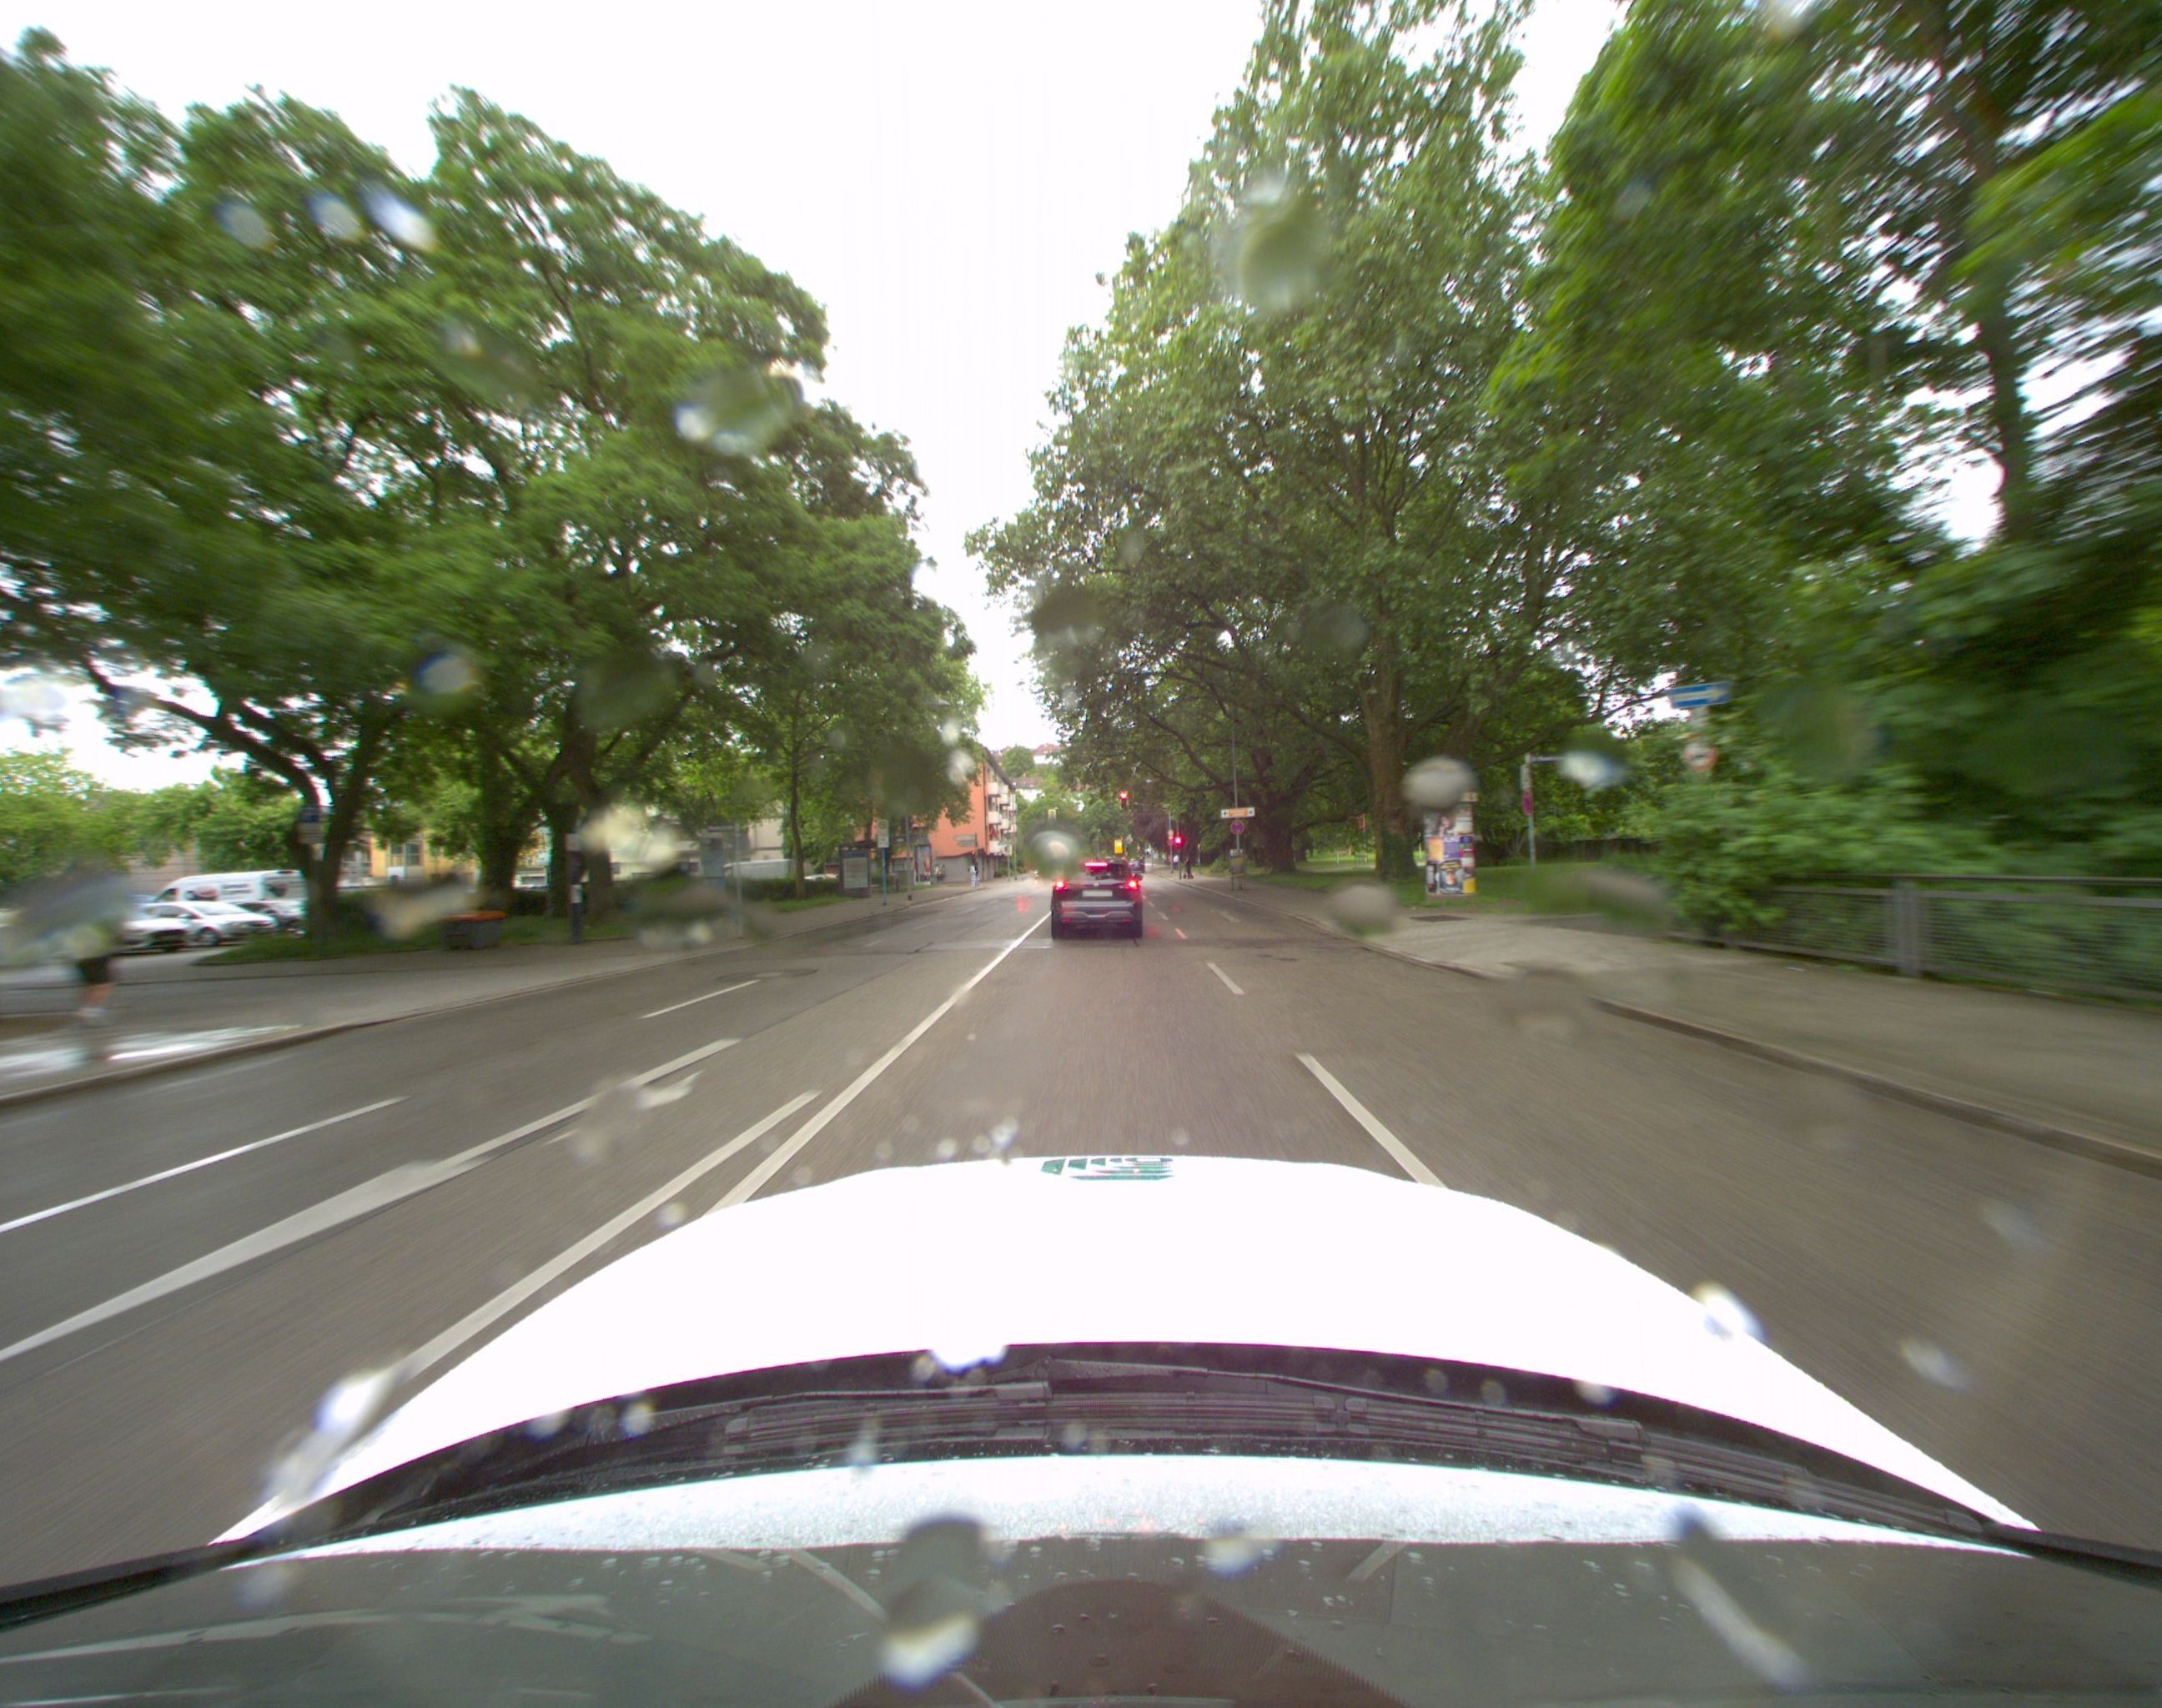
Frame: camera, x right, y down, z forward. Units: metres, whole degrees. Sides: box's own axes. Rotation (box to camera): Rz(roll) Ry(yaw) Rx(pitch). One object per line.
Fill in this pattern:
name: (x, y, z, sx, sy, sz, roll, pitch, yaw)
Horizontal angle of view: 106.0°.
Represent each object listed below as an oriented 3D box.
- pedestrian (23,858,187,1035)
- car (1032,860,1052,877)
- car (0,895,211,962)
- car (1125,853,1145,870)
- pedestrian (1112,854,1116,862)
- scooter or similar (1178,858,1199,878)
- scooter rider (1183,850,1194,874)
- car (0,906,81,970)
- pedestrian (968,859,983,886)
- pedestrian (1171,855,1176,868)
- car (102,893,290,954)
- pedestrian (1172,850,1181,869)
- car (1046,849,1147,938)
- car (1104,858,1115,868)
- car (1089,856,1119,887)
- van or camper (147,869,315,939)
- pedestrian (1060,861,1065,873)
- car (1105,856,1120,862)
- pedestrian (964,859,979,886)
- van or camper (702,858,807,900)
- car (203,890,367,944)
pedestrian: (-11.232, 1.026, 9.400, 0.911, 1.924, 0.821, -2, -1, 8)
car: (-3.776, 1.427, 79.721, 1.791, 1.533, 3.864, -3, 0, -2)
car: (-28.176, 2.120, 23.575, 4.022, 1.625, 1.865, -2, -1, 2)
car: (5.897, 0.814, 88.402, 1.983, 1.735, 4.007, 0, -1, 7)
pedestrian: (7.002, 0.867, 172.520, 0.503, 1.673, 0.663, -3, -1, 29)
scooter or similar: (8.069, 1.047, 61.025, 1.384, 1.446, 0.820, -2, -2, 13)
scooter rider: (8.053, 0.588, 61.043, 0.639, 1.766, 0.738, -2, -2, 13)
car: (-28.613, 2.200, 20.770, 3.971, 1.463, 1.865, -2, -1, 2)
pedestrian: (-7.575, 1.343, 58.616, 1.035, 1.876, 0.656, -1, -1, -10)
pedestrian: (10.356, 0.835, 91.254, 0.388, 1.502, 0.559, -3, -1, 2)
car: (-28.018, 2.171, 25.877, 3.971, 1.625, 1.865, -2, -1, 2)
pedestrian: (10.152, 0.569, 86.737, 0.722, 2.014, 0.852, -3, -1, 1)
car: (0.367, 0.756, 17.477, 1.906, 1.680, 4.002, -1, 0, 2)
car: (4.606, 1.419, 130.762, 1.628, 1.532, 3.969, -3, 0, 2)
car: (1.395, 1.068, 49.803, 1.692, 1.745, 3.642, -3, 0, 2)
van or camper: (-32.862, 1.888, 31.578, 4.309, 2.431, 2.101, -2, -1, 2)
pedestrian: (-2.646, 1.862, 116.153, 0.506, 1.802, 0.620, -3, -1, 1)
car: (8.038, 1.319, 208.016, 3.973, 1.668, 1.702, 0, -1, 1)
pedestrian: (-7.779, 1.331, 57.869, 1.035, 1.876, 0.656, -1, -1, -10)
van or camper: (-17.037, 1.287, 42.667, 4.582, 1.949, 1.999, -2, -1, -1)
car: (-27.984, 2.196, 28.723, 3.971, 1.625, 1.865, -2, -1, 2)
